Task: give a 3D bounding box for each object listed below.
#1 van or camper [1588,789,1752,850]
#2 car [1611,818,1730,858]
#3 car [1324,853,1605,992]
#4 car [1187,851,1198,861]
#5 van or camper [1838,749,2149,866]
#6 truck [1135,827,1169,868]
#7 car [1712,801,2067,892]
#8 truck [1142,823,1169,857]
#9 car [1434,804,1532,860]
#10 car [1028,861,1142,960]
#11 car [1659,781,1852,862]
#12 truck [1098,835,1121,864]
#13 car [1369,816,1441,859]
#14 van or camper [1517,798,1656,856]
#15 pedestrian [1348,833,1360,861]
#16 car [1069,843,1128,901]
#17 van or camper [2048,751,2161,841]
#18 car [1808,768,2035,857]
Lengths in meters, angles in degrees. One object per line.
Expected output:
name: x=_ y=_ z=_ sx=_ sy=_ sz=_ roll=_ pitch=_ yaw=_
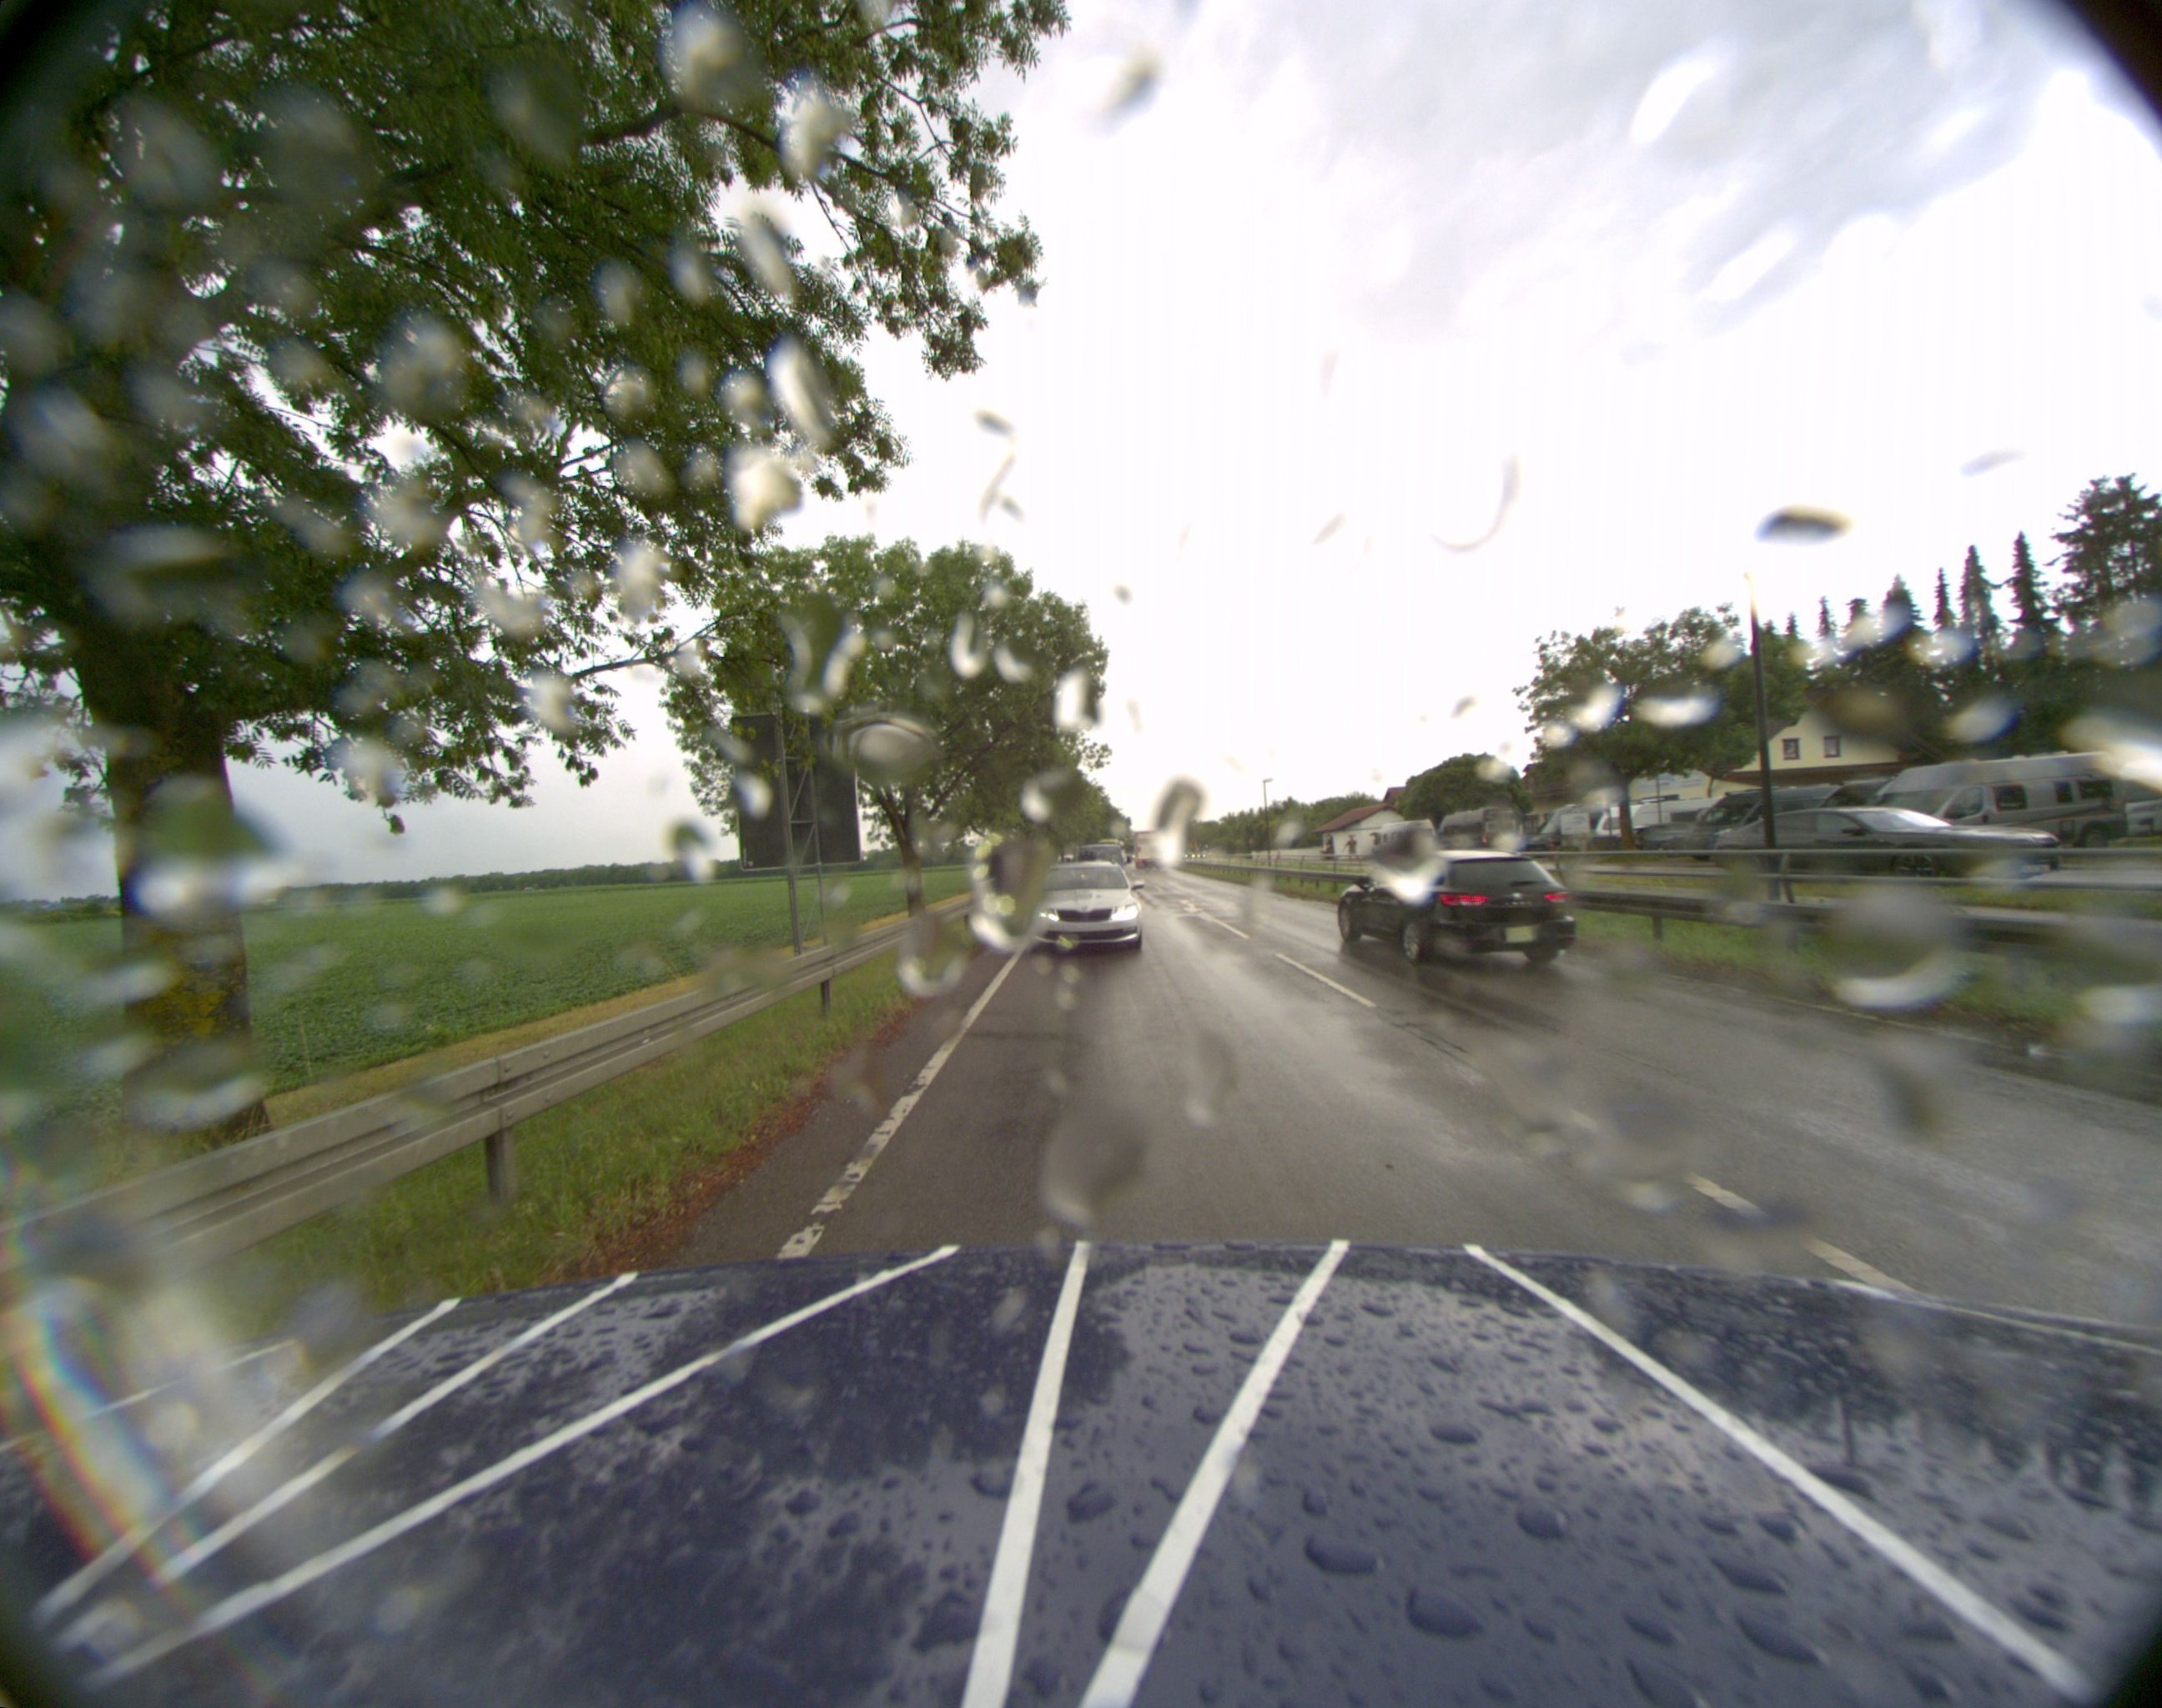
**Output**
van or camper: x=29.814 y=-1.701 z=38.612 sx=6.239 sy=2.576 sz=2.562 roll=-4 pitch=0 yaw=0
car: x=25.668 y=-0.684 z=33.147 sx=3.894 sy=1.487 sz=1.540 roll=-4 pitch=0 yaw=1
car: x=4.795 y=0.736 z=10.245 sx=1.718 sy=1.442 sz=4.111 roll=-2 pitch=0 yaw=1
car: x=23.687 y=0.466 z=161.514 sx=1.683 sy=2.002 sz=4.000 roll=-2 pitch=1 yaw=1
van or camper: x=24.680 y=-1.197 z=20.722 sx=5.890 sy=2.662 sz=2.081 roll=-4 pitch=0 yaw=0
truck: x=6.385 y=-0.561 z=69.022 sx=2.582 sy=3.432 sz=9.557 roll=-2 pitch=0 yaw=3
car: x=15.683 y=-0.123 z=15.291 sx=1.519 sy=1.482 sz=5.120 roll=-2 pitch=0 yaw=-3
truck: x=11.850 y=-2.156 z=121.582 sx=3.256 sy=5.004 sz=7.783 roll=-4 pitch=0 yaw=1
car: x=21.977 y=-1.150 z=41.881 sx=2.389 sy=2.747 sz=5.573 roll=-4 pitch=0 yaw=1
car: x=0.093 y=0.880 z=13.598 sx=1.705 sy=1.438 sz=4.000 roll=-1 pitch=0 yaw=1
car: x=24.453 y=-1.141 z=27.674 sx=5.196 sy=2.487 sz=2.000 roll=-4 pitch=0 yaw=-1
truck: x=3.812 y=-0.548 z=101.173 sx=2.751 sy=3.547 sz=8.387 roll=-3 pitch=0 yaw=2
car: x=21.699 y=-1.060 z=51.235 sx=2.242 sy=2.565 sz=6.019 roll=-4 pitch=0 yaw=1
van or camper: x=28.311 y=-1.482 z=42.705 sx=6.068 sy=2.785 sz=2.434 roll=-4 pitch=0 yaw=0
pedestrian: x=16.874 y=-0.419 z=46.915 sx=0.516 sy=1.701 sz=0.650 roll=-3 pitch=1 yaw=9
car: x=0.620 y=0.582 z=27.115 sx=1.903 sy=1.884 sz=4.000 roll=-1 pitch=0 yaw=1
van or camper: x=34.348 y=-1.905 z=23.722 sx=5.820 sy=2.575 sz=2.000 roll=-4 pitch=0 yaw=-2
car: x=27.024 y=-1.280 z=24.557 sx=5.105 sy=2.444 sz=2.000 roll=-4 pitch=0 yaw=-1
